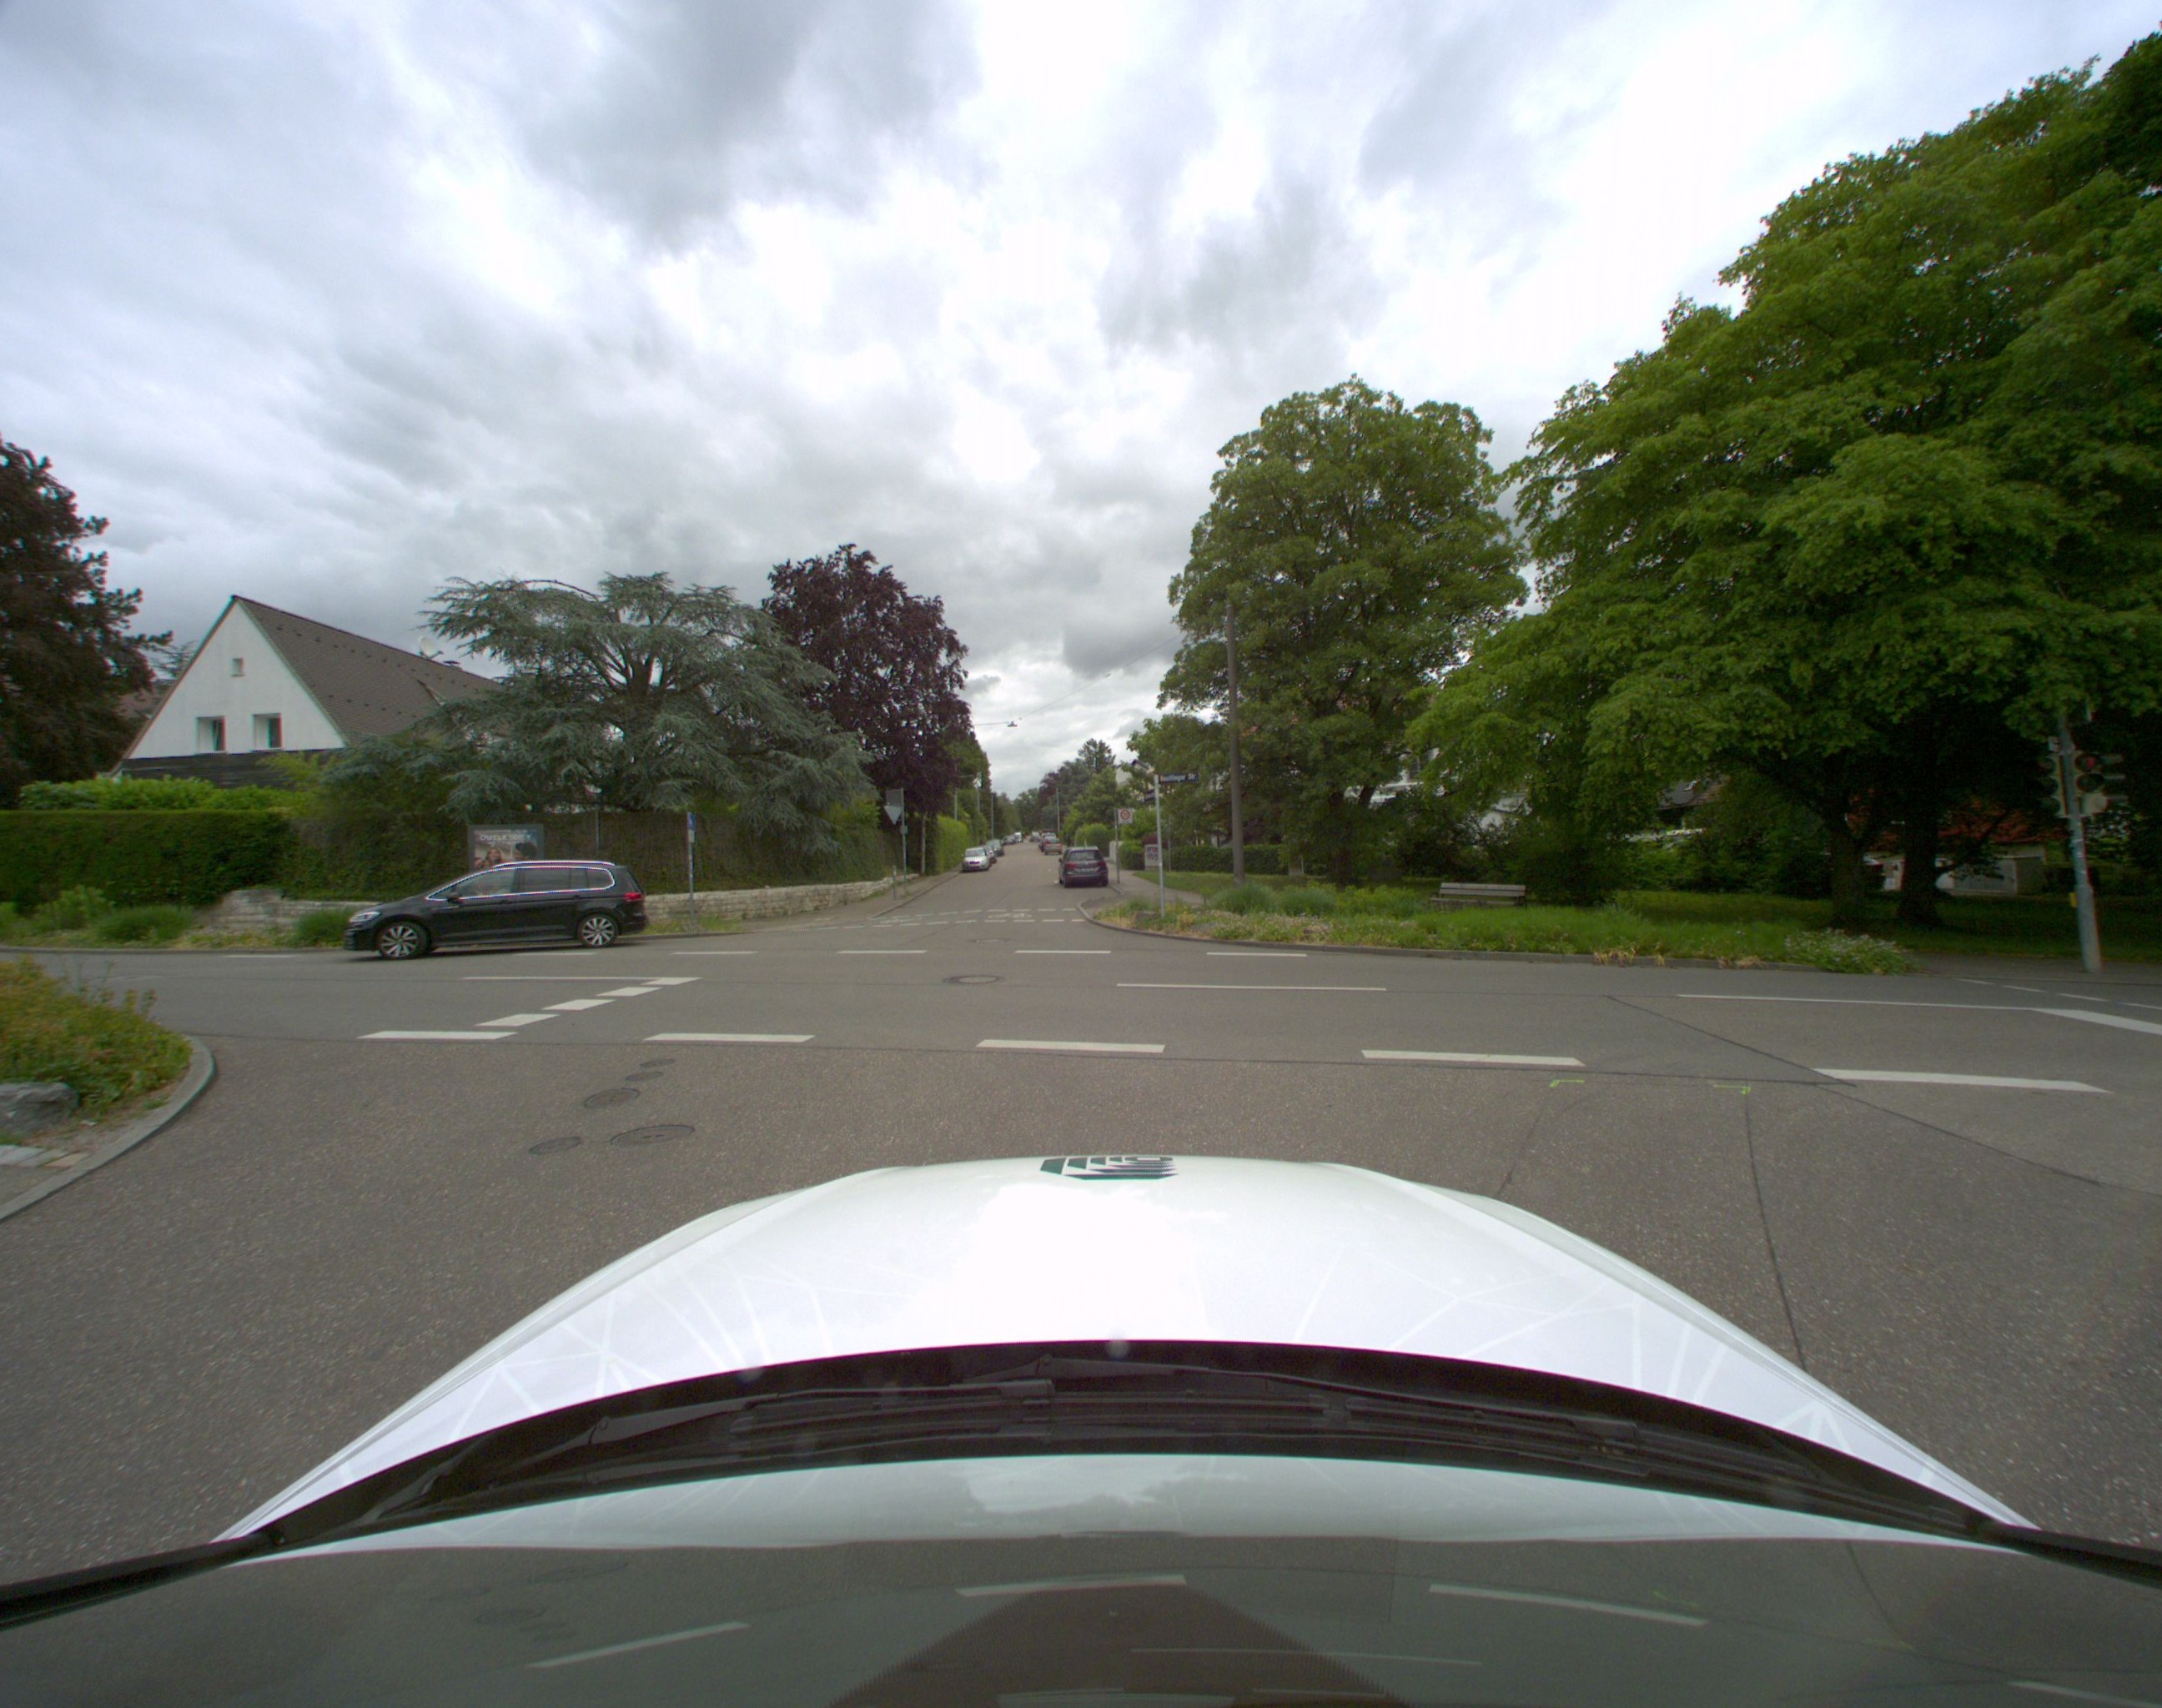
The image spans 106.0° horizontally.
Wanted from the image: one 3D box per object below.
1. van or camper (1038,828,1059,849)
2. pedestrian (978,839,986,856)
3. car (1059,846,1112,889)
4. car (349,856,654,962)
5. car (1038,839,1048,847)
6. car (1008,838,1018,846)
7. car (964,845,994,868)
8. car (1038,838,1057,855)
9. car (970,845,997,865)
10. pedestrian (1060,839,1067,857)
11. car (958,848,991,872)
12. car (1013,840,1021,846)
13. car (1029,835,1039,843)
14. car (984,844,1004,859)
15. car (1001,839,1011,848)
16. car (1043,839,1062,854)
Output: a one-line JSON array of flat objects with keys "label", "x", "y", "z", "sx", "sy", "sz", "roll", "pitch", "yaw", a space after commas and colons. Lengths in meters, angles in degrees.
[{"label": "van or camper", "x": -3.995, "y": -1.800, "z": 97.934, "sx": 2.110, "sy": 2.404, "sz": 5.235, "roll": -2, "pitch": 0, "yaw": -6}, {"label": "pedestrian", "x": -11.414, "y": -0.726, "z": 93.755, "sx": 0.853, "sy": 2.013, "sz": 0.870, "roll": 0, "pitch": 0, "yaw": -10}, {"label": "car", "x": 0.114, "y": 0.507, "z": 33.098, "sx": 1.814, "sy": 1.536, "sz": 3.994, "roll": -3, "pitch": 0, "yaw": -4}, {"label": "car", "x": -10.380, "y": 0.915, "z": 14.988, "sx": 4.327, "sy": 1.611, "sz": 1.834, "roll": -1, "pitch": -1, "yaw": -33}, {"label": "car", "x": -8.684, "y": -2.486, "z": 184.216, "sx": 1.939, "sy": 1.796, "sz": 4.184, "roll": 0, "pitch": 0, "yaw": -8}, {"label": "car", "x": -12.594, "y": -2.163, "z": 150.292, "sx": 1.711, "sy": 1.463, "sz": 3.652, "roll": 0, "pitch": 0, "yaw": -4}, {"label": "car", "x": -7.160, "y": 0.159, "z": 57.701, "sx": 1.944, "sy": 1.442, "sz": 3.992, "roll": -2, "pitch": 1, "yaw": -6}, {"label": "car", "x": -3.504, "y": -0.758, "z": 85.479, "sx": 1.744, "sy": 1.640, "sz": 3.721, "roll": -2, "pitch": 0, "yaw": -5}, {"label": "car", "x": -7.482, "y": 0.039, "z": 62.842, "sx": 1.944, "sy": 1.442, "sz": 3.992, "roll": -2, "pitch": 1, "yaw": -6}, {"label": "pedestrian", "x": -1.937, "y": -0.659, "z": 89.443, "sx": 0.755, "sy": 1.871, "sz": 0.619, "roll": 0, "pitch": 0, "yaw": -4}, {"label": "car", "x": -6.840, "y": 0.347, "z": 52.568, "sx": 1.944, "sy": 1.442, "sz": 3.992, "roll": -2, "pitch": 1, "yaw": -6}, {"label": "car", "x": -13.969, "y": -2.419, "z": 178.272, "sx": 1.652, "sy": 1.335, "sz": 3.776, "roll": 0, "pitch": 0, "yaw": -4}, {"label": "car", "x": -10.279, "y": -3.277, "z": 176.689, "sx": 1.814, "sy": 1.574, "sz": 3.988, "roll": -2, "pitch": 0, "yaw": -8}, {"label": "car", "x": -8.589, "y": -0.270, "z": 80.660, "sx": 1.944, "sy": 1.442, "sz": 3.992, "roll": -2, "pitch": 1, "yaw": -6}, {"label": "car", "x": -12.952, "y": -1.840, "z": 140.657, "sx": 1.711, "sy": 1.463, "sz": 3.652, "roll": 0, "pitch": 0, "yaw": -4}, {"label": "car", "x": -2.697, "y": -0.720, "z": 76.444, "sx": 1.607, "sy": 1.413, "sz": 3.465, "roll": 0, "pitch": 0, "yaw": -6}]
